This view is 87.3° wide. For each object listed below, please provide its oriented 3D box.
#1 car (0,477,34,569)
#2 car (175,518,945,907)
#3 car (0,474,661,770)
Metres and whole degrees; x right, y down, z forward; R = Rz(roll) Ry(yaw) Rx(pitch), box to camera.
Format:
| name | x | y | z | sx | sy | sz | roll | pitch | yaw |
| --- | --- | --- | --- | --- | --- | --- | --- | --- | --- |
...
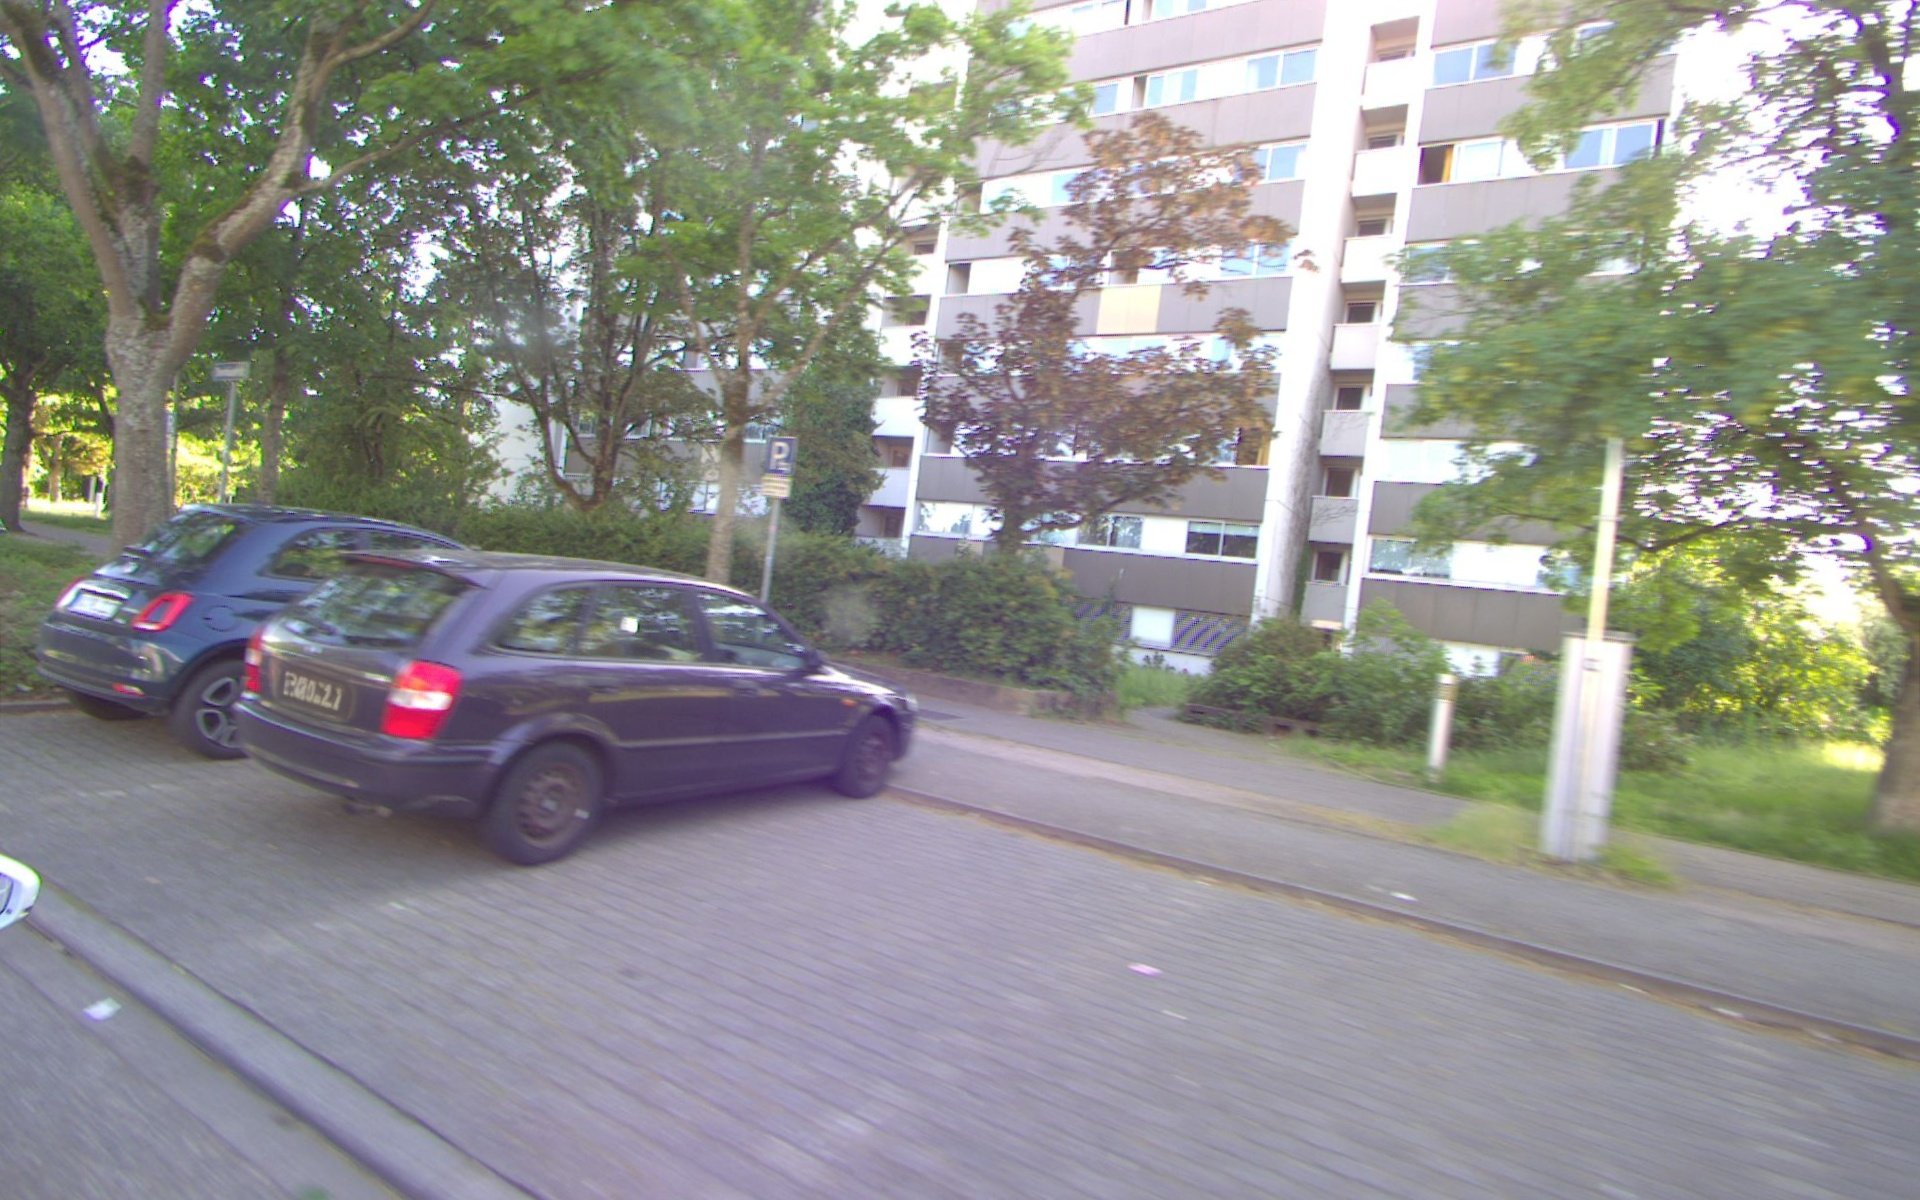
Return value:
| name | x | y | z | sx | sy | sz | roll | pitch | yaw |
| --- | --- | --- | --- | --- | --- | --- | --- | --- | --- |
| car | -17.264 | -1.424 | 15.542 | 1.688 | 1.470 | 3.990 | 7 | 1 | 31 |
| car | -1.950 | 0.455 | 6.072 | 1.792 | 1.405 | 3.988 | 7 | 2 | 31 |
| car | -4.279 | 0.132 | 7.471 | 1.672 | 1.518 | 3.813 | 7 | 2 | 28 |
